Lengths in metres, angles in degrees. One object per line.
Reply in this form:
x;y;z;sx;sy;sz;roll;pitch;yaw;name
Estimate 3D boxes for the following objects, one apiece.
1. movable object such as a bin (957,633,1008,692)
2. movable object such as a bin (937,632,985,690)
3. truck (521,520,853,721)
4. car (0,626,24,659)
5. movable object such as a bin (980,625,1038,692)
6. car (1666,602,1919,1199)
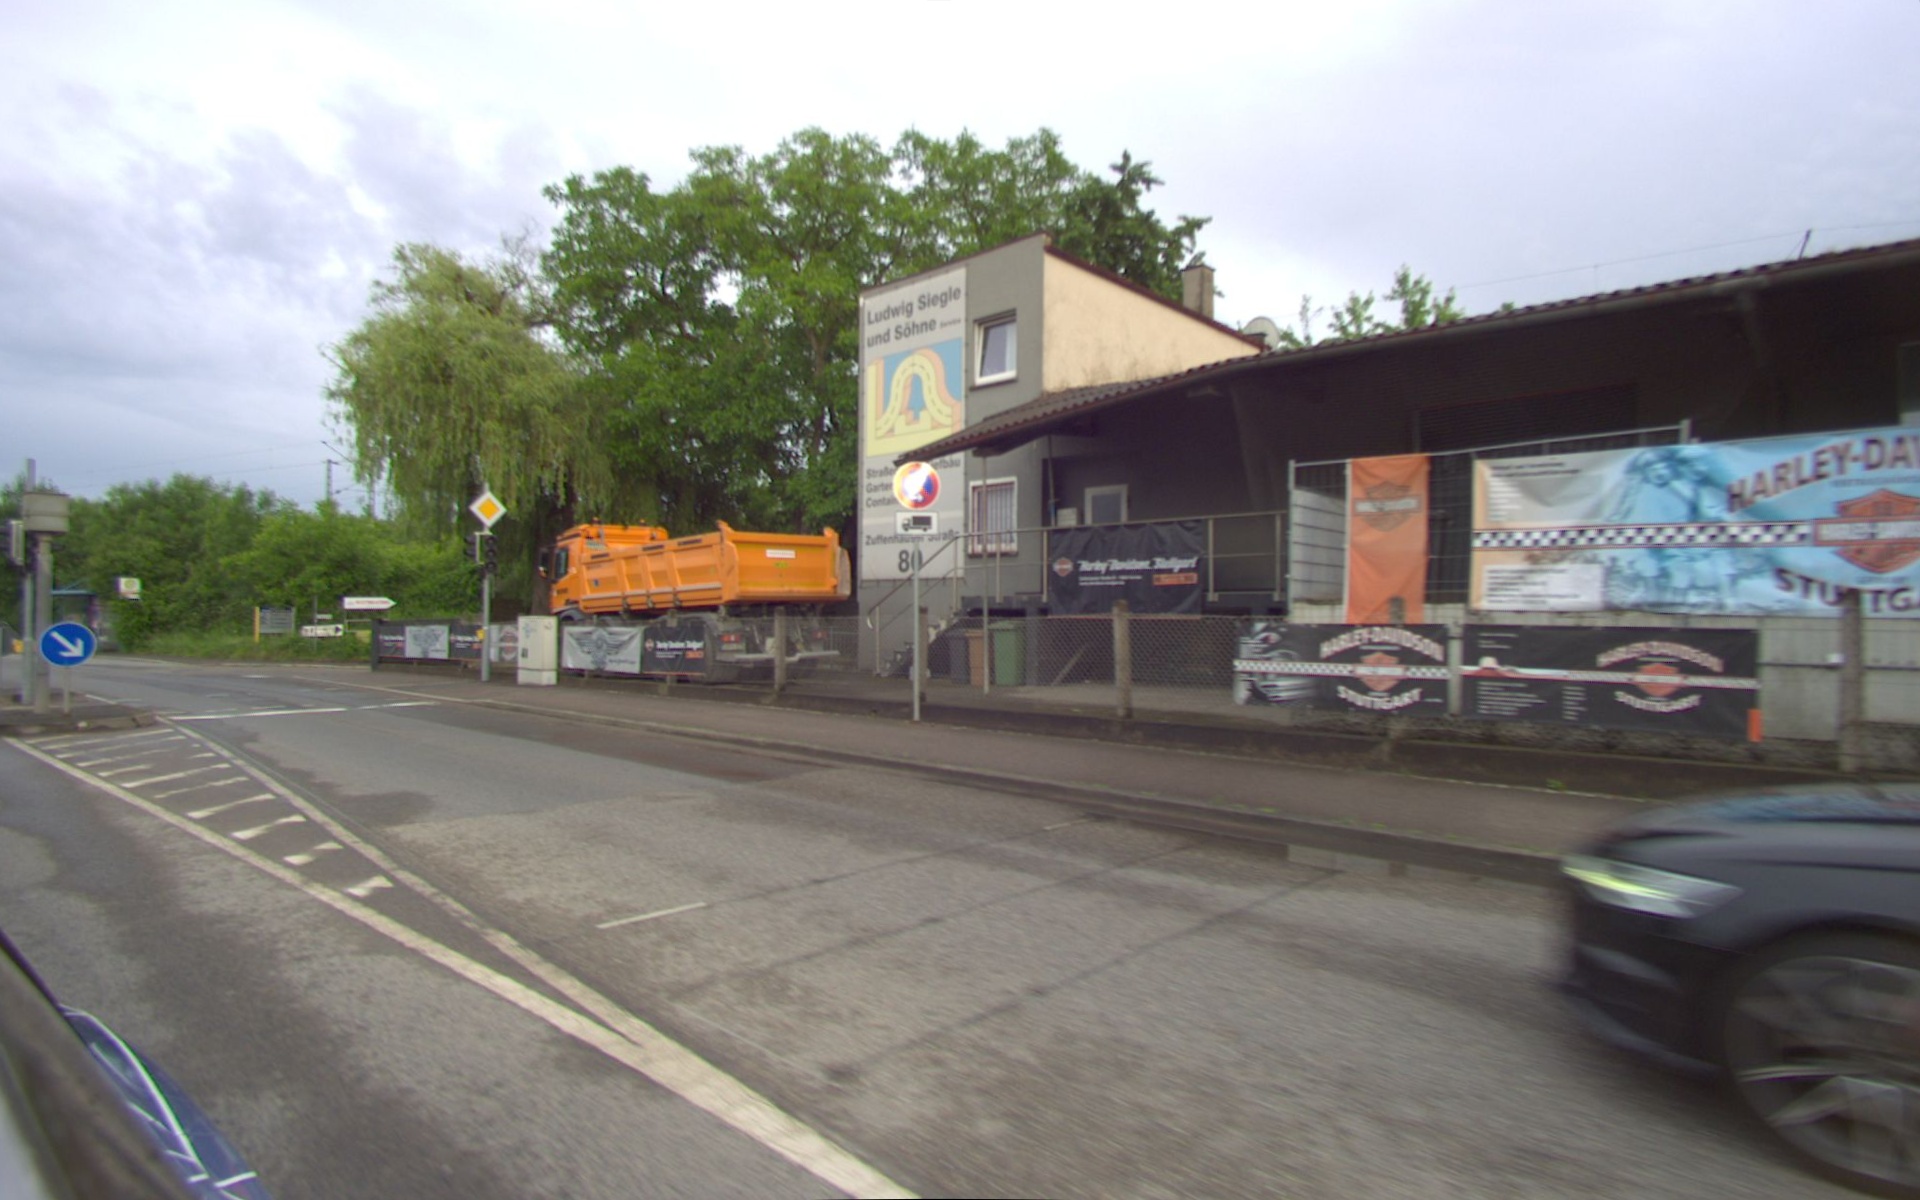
0.385;1.051;17.194;0.478;0.963;0.755;-2;-2;41;movable object such as a bin
0.023;1.051;17.546;0.460;0.963;0.741;-2;-2;41;movable object such as a bin
-6.164;0.263;21.478;2.666;3.437;9.078;-2;2;-44;truck
-47.082;2.114;48.482;4.682;1.485;1.980;-3;0;30;car
0.815;0.958;16.820;0.624;1.064;0.755;-2;-2;42;movable object such as a bin
4.228;0.797;1.926;4.543;1.462;1.723;0;-4;43;car
